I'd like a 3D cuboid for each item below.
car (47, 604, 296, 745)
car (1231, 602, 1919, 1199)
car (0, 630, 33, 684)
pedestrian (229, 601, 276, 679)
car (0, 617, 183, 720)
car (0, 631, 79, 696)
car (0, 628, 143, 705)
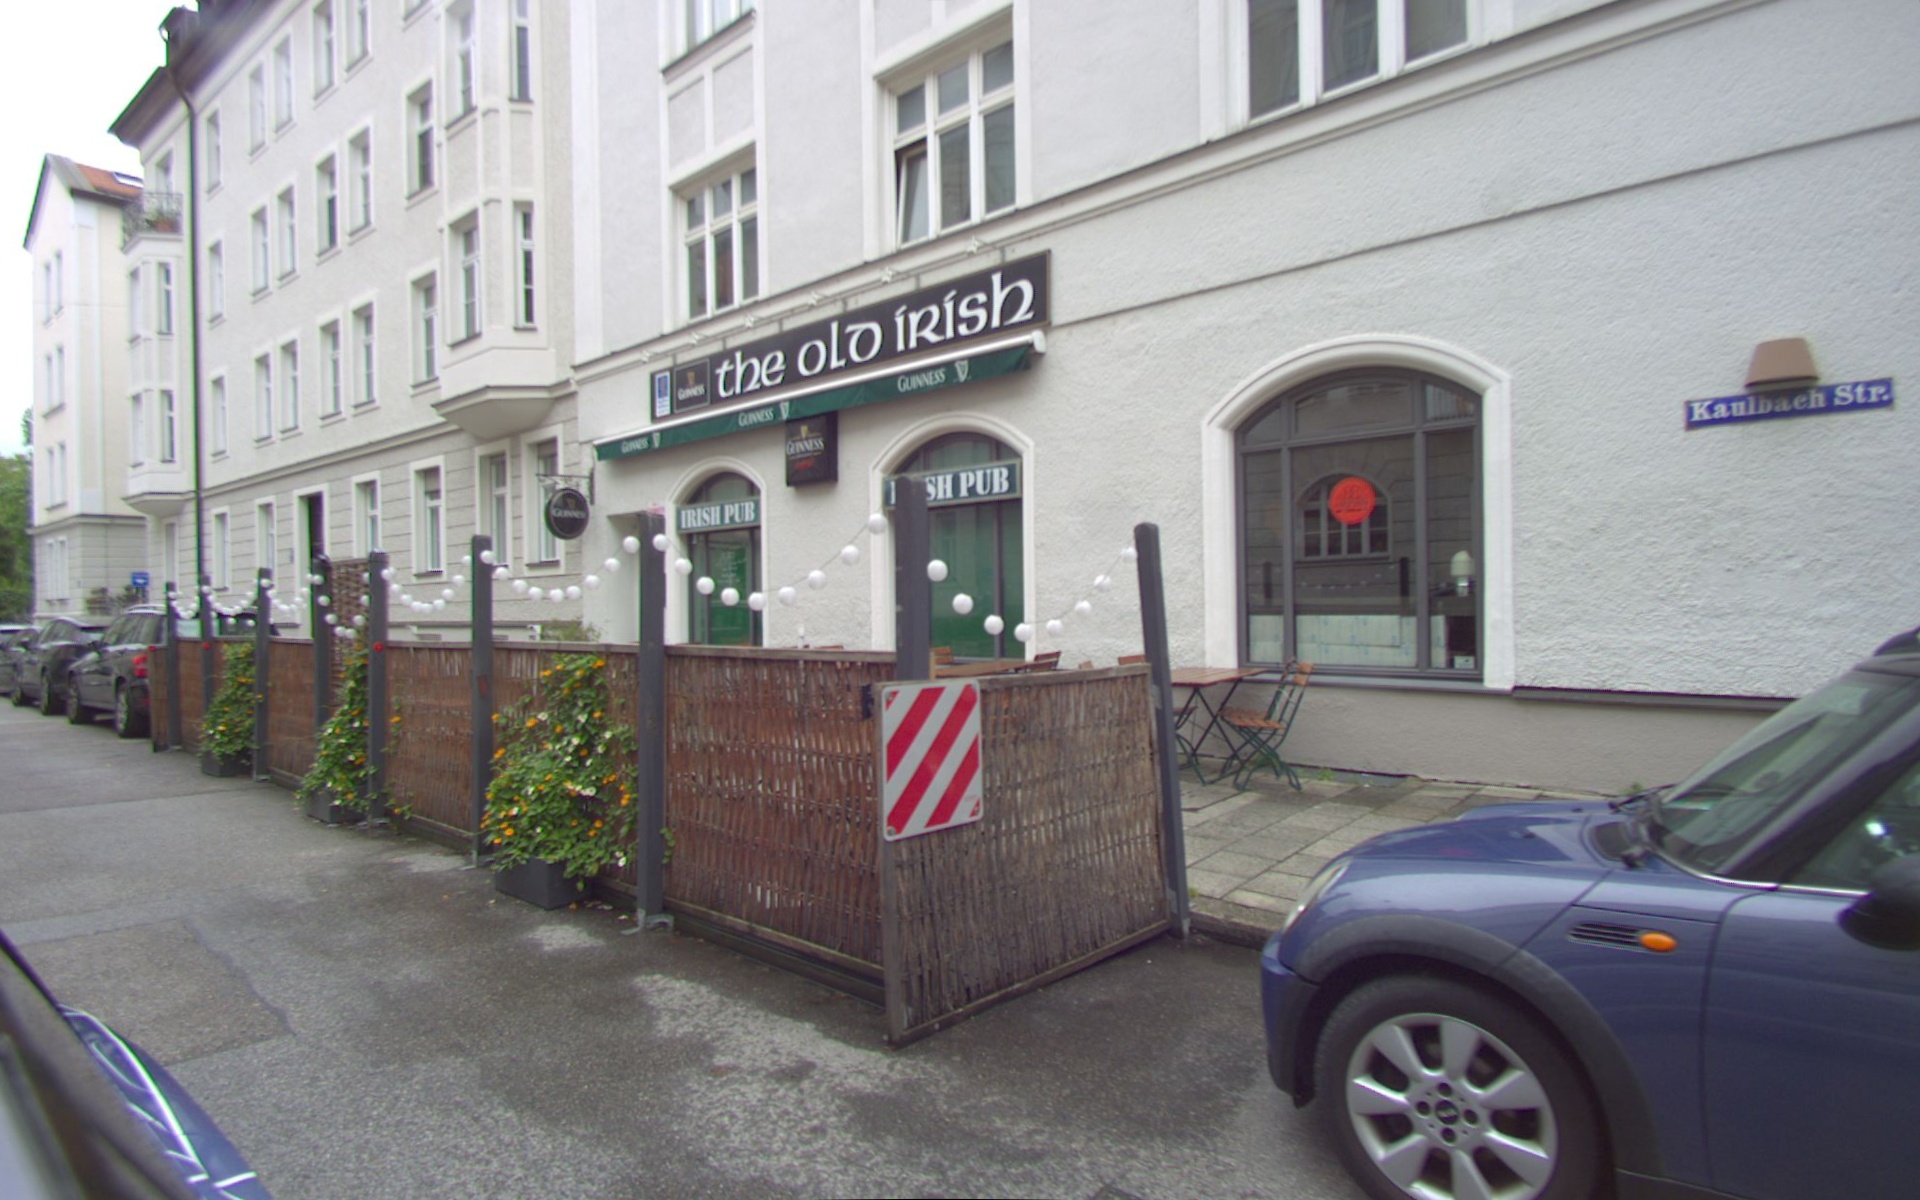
[{"bbox_3d":[-11.093,0.978,14.144,4.270,1.686,1.729,-2,-4,38],"label":"car"},{"bbox_3d":[2.715,0.707,1.809,4.000,1.401,1.688,-1,-2,43],"label":"car"},{"bbox_3d":[-27.028,1.556,27.542,4.694,1.377,1.833,-2,-1,37],"label":"car"},{"bbox_3d":[-15.936,0.887,22.805,0.654,1.720,0.702,-1,0,-18],"label":"pedestrian"},{"bbox_3d":[-14.880,1.085,17.202,4.176,1.498,1.725,-2,-1,39],"label":"car"},{"bbox_3d":[-22.611,1.456,24.033,4.506,1.430,1.776,-1,-3,39],"label":"car"},{"bbox_3d":[-18.529,1.290,20.636,4.434,1.396,1.794,-2,-2,36],"label":"car"}]
